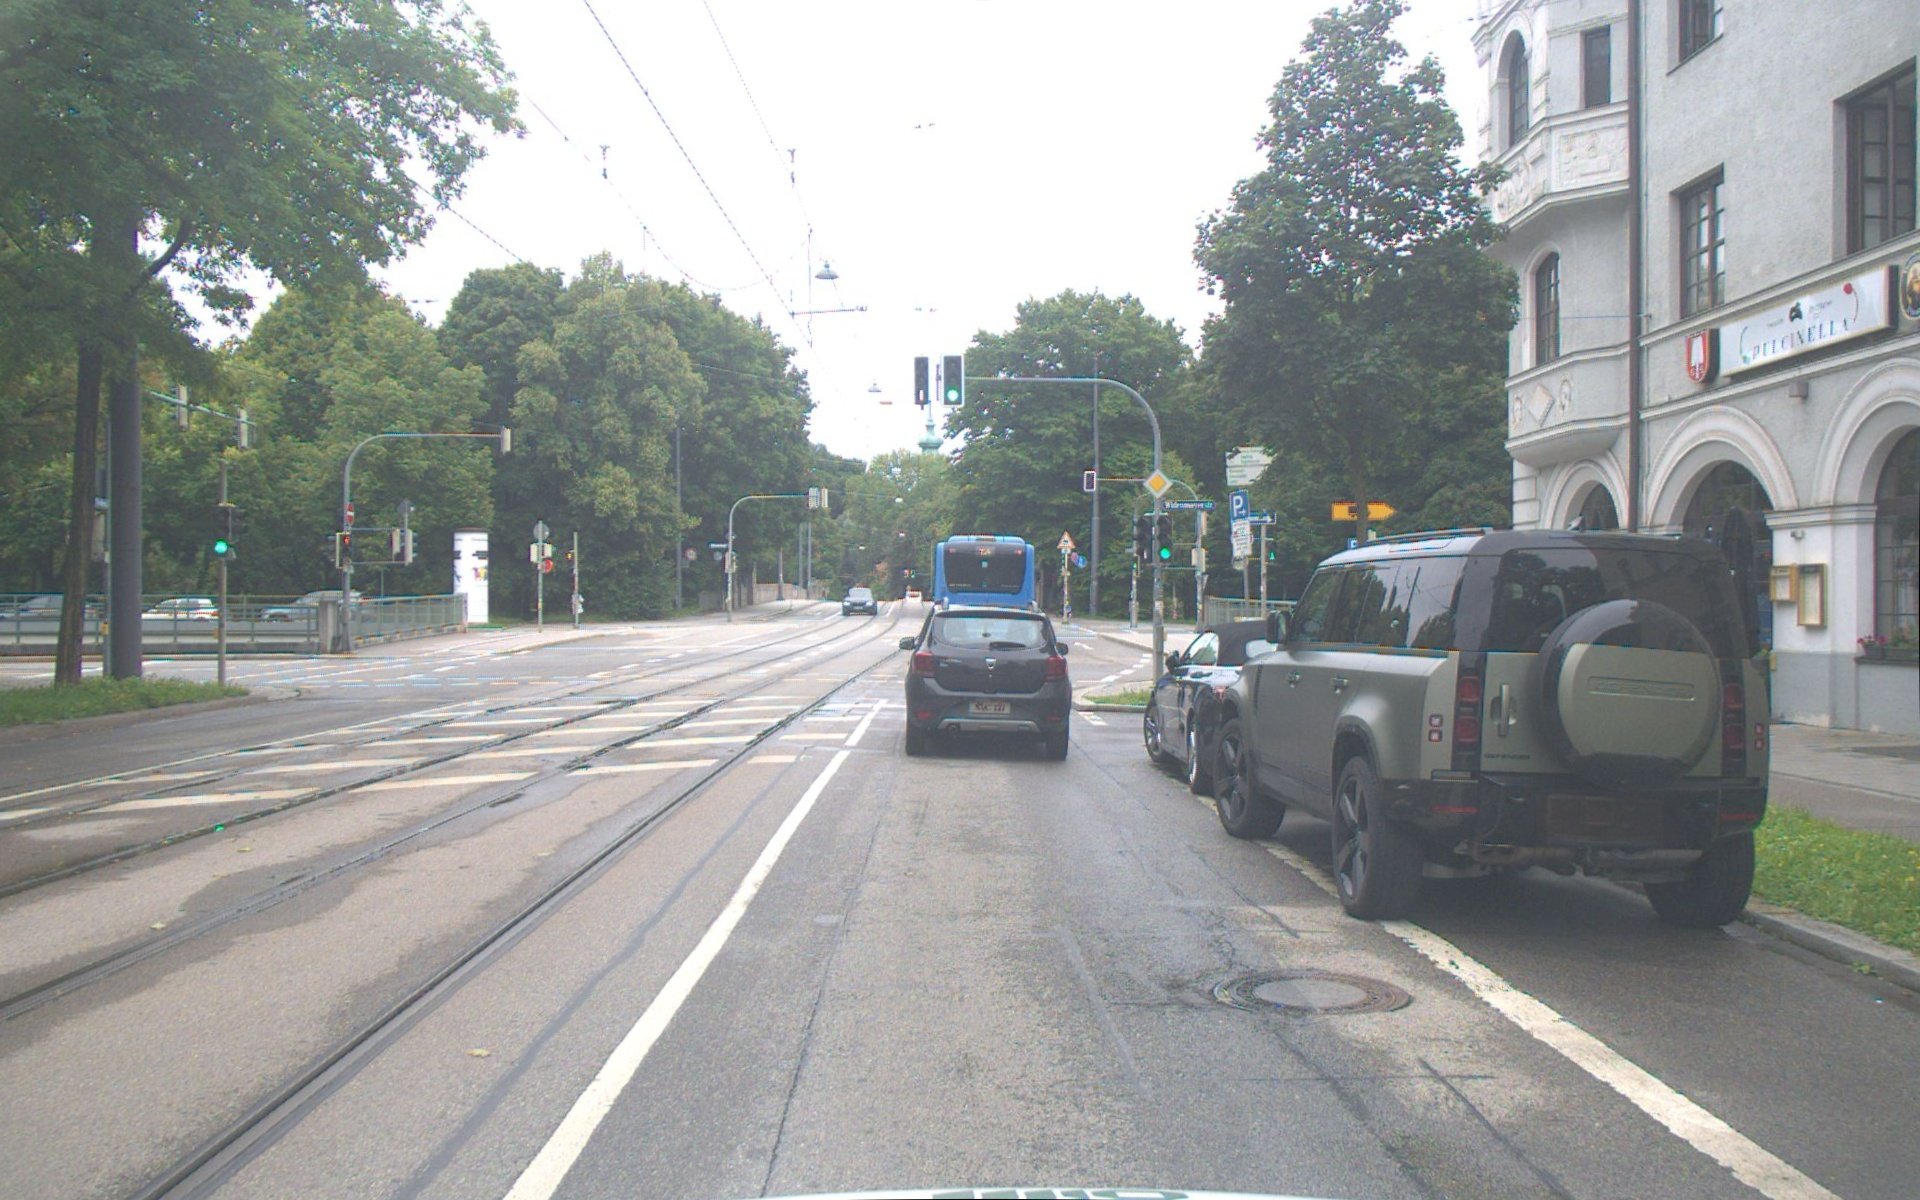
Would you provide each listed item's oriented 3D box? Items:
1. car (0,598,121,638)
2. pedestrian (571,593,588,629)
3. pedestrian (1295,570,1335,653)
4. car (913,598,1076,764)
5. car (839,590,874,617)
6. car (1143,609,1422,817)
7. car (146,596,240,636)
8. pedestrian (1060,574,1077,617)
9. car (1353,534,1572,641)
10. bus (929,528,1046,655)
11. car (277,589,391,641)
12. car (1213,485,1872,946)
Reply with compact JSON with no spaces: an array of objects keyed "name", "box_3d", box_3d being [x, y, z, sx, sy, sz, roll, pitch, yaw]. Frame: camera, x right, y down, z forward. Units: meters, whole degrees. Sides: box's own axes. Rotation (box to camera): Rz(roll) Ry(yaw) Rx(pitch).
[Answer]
[{"name":"car","box_3d":[-35.347,0.701,64.988,3.848,1.429,1.719,2,-1,-5]},{"name":"pedestrian","box_3d":[-16.363,0.480,71.119,0.520,1.528,0.588,1,-1,4]},{"name":"pedestrian","box_3d":[9.012,0.293,41.995,0.813,2.049,0.780,2,-1,-1]},{"name":"car","box_3d":[0.305,0.810,18.020,1.568,1.584,3.524,2,-1,-1]},{"name":"car","box_3d":[-5.578,0.189,89.355,1.752,1.394,3.399,2,-1,-2]},{"name":"car","box_3d":[2.821,0.925,15.396,1.679,1.619,4.326,2,-1,-1]},{"name":"car","box_3d":[-30.304,0.629,65.381,3.050,1.477,1.249,2,-1,-6]},{"name":"pedestrian","box_3d":[5.478,-0.233,83.345,0.747,2.153,0.853,2,-1,-1]},{"name":"car","box_3d":[13.510,-0.317,44.680,5.191,2.658,2.229,2,-1,-4]},{"name":"bus","box_3d":[0.609,-0.177,43.932,2.625,3.050,6.957,2,-1,-2]},{"name":"car","box_3d":[-25.007,0.594,66.118,3.946,1.920,1.488,2,-1,-7]},{"name":"car","box_3d":[2.893,0.523,9.525,1.876,1.939,4.805,2,-1,-3]}]
